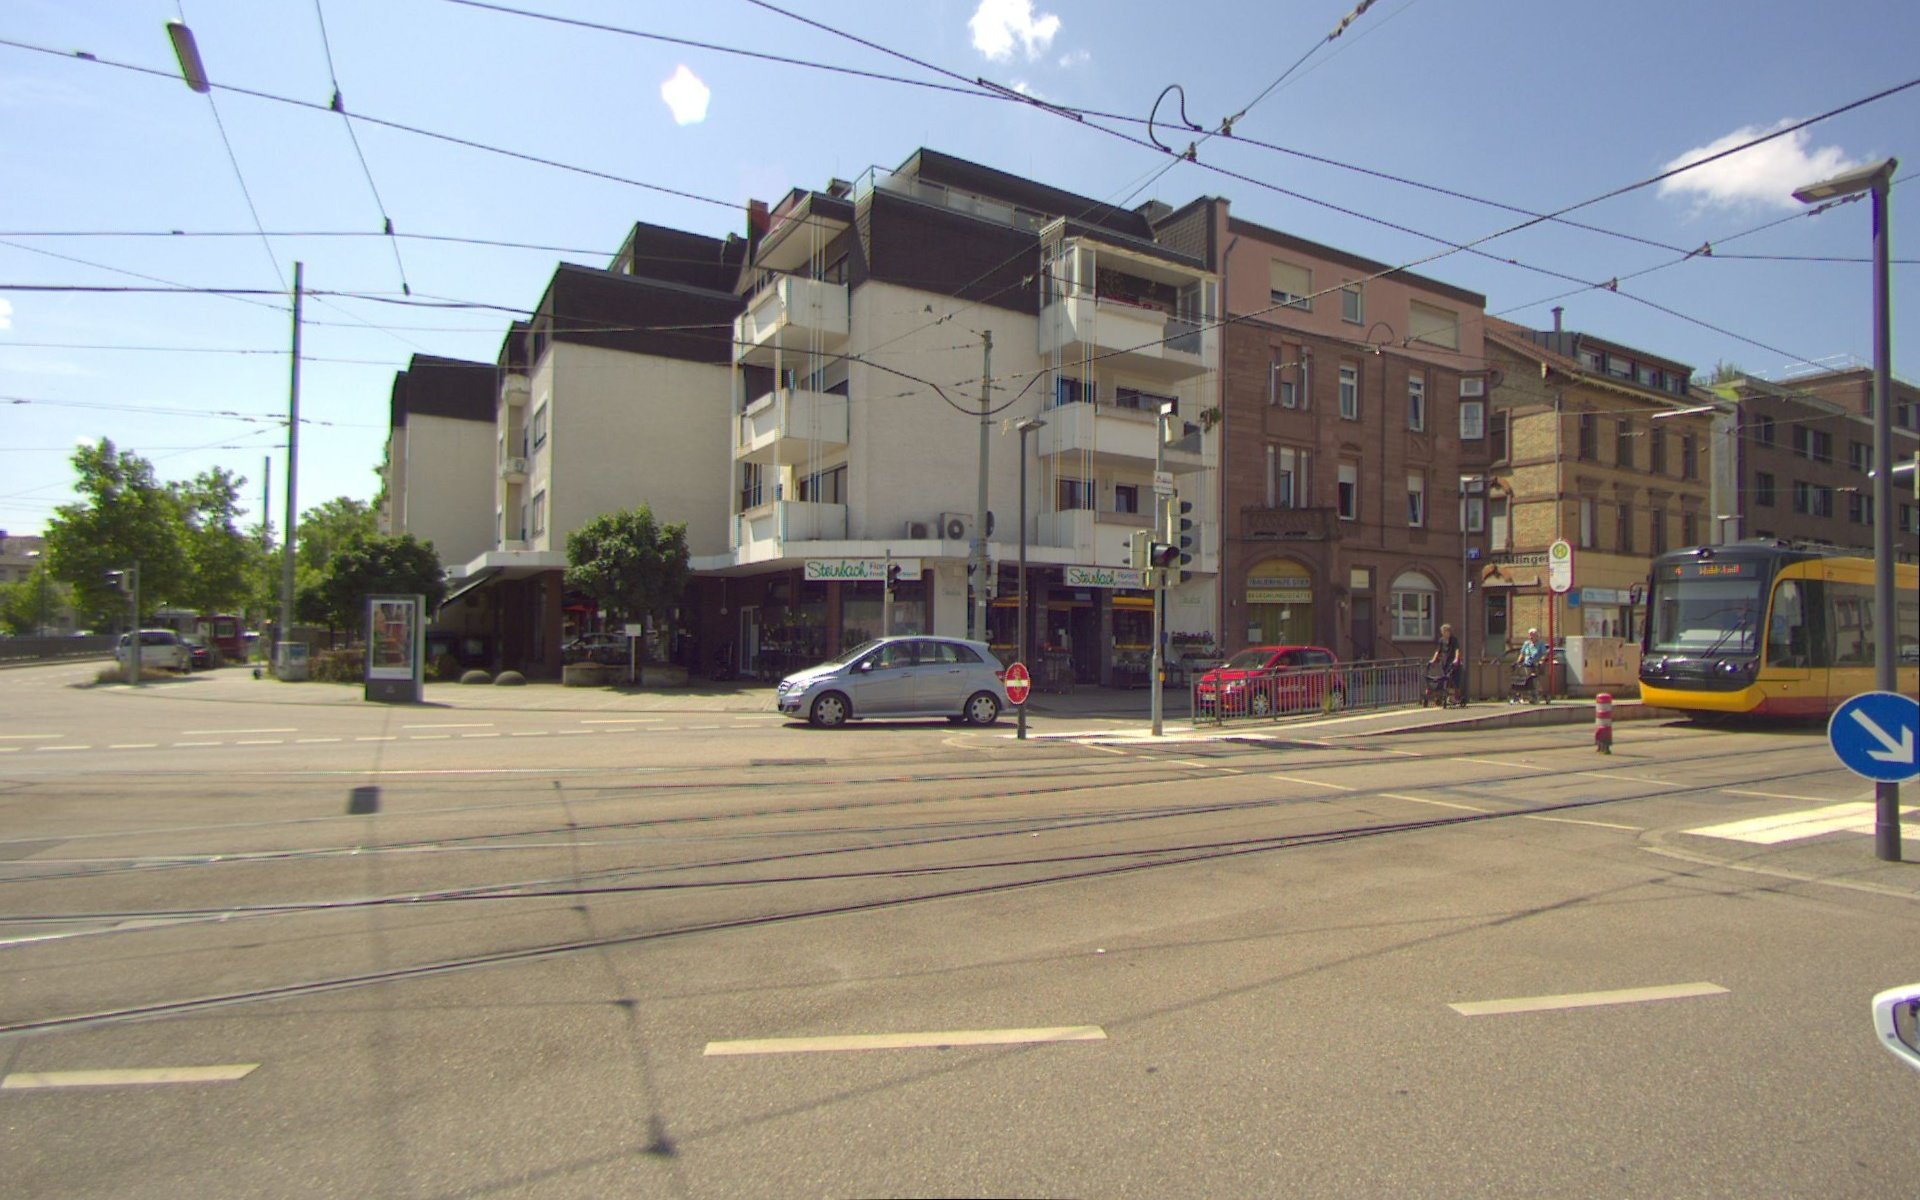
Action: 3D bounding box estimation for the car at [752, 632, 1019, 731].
[{"bbox_3d":[-1.360,1.425,18.162,4.533,1.636,1.734,1,-2,-19],"label":"car"}]

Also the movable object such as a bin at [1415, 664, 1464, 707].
[{"bbox_3d":[9.350,1.659,19.598,0.532,0.790,0.671,2,-3,-32],"label":"movable object such as a bin"}]

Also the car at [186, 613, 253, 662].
[{"bbox_3d":[-37.642,1.911,51.188,2.190,2.369,5.178,2,-3,-31],"label":"car"}]

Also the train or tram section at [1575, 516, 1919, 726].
[{"bbox_3d":[21.797,0.783,24.001,20.269,3.613,3.234,2,-3,-31],"label":"train or tram section"}]

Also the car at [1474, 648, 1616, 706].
[{"bbox_3d":[15.996,2.075,27.441,3.743,1.475,1.644,2,-4,-29],"label":"car"}]

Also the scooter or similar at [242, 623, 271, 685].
[{"bbox_3d":[-21.986,1.678,31.427,0.611,1.870,1.995,2,-3,-33],"label":"scooter or similar"}]

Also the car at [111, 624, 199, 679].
[{"bbox_3d":[-29.016,1.843,36.345,1.979,1.863,4.778,2,-3,-33],"label":"car"}]

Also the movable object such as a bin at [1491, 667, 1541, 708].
[{"bbox_3d":[11.190,1.749,20.216,0.613,0.790,0.671,2,-3,-32],"label":"movable object such as a bin"}]

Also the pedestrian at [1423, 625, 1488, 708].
[{"bbox_3d":[9.839,1.307,19.953,0.910,1.580,0.782,2,-2,-31],"label":"pedestrian"}]

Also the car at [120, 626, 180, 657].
[{"bbox_3d":[-44.720,2.261,55.555,1.978,1.627,4.779,2,-2,-32],"label":"car"}]

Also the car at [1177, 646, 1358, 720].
[{"bbox_3d":[6.676,1.737,21.740,3.809,1.463,1.647,2,-3,-31],"label":"car"}]

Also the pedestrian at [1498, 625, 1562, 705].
[{"bbox_3d":[11.629,1.316,20.493,0.910,1.580,0.782,2,-3,-31],"label":"pedestrian"}]

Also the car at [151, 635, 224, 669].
[{"bbox_3d":[-32.071,2.149,41.815,1.979,1.350,4.778,2,-3,-33],"label":"car"}]
